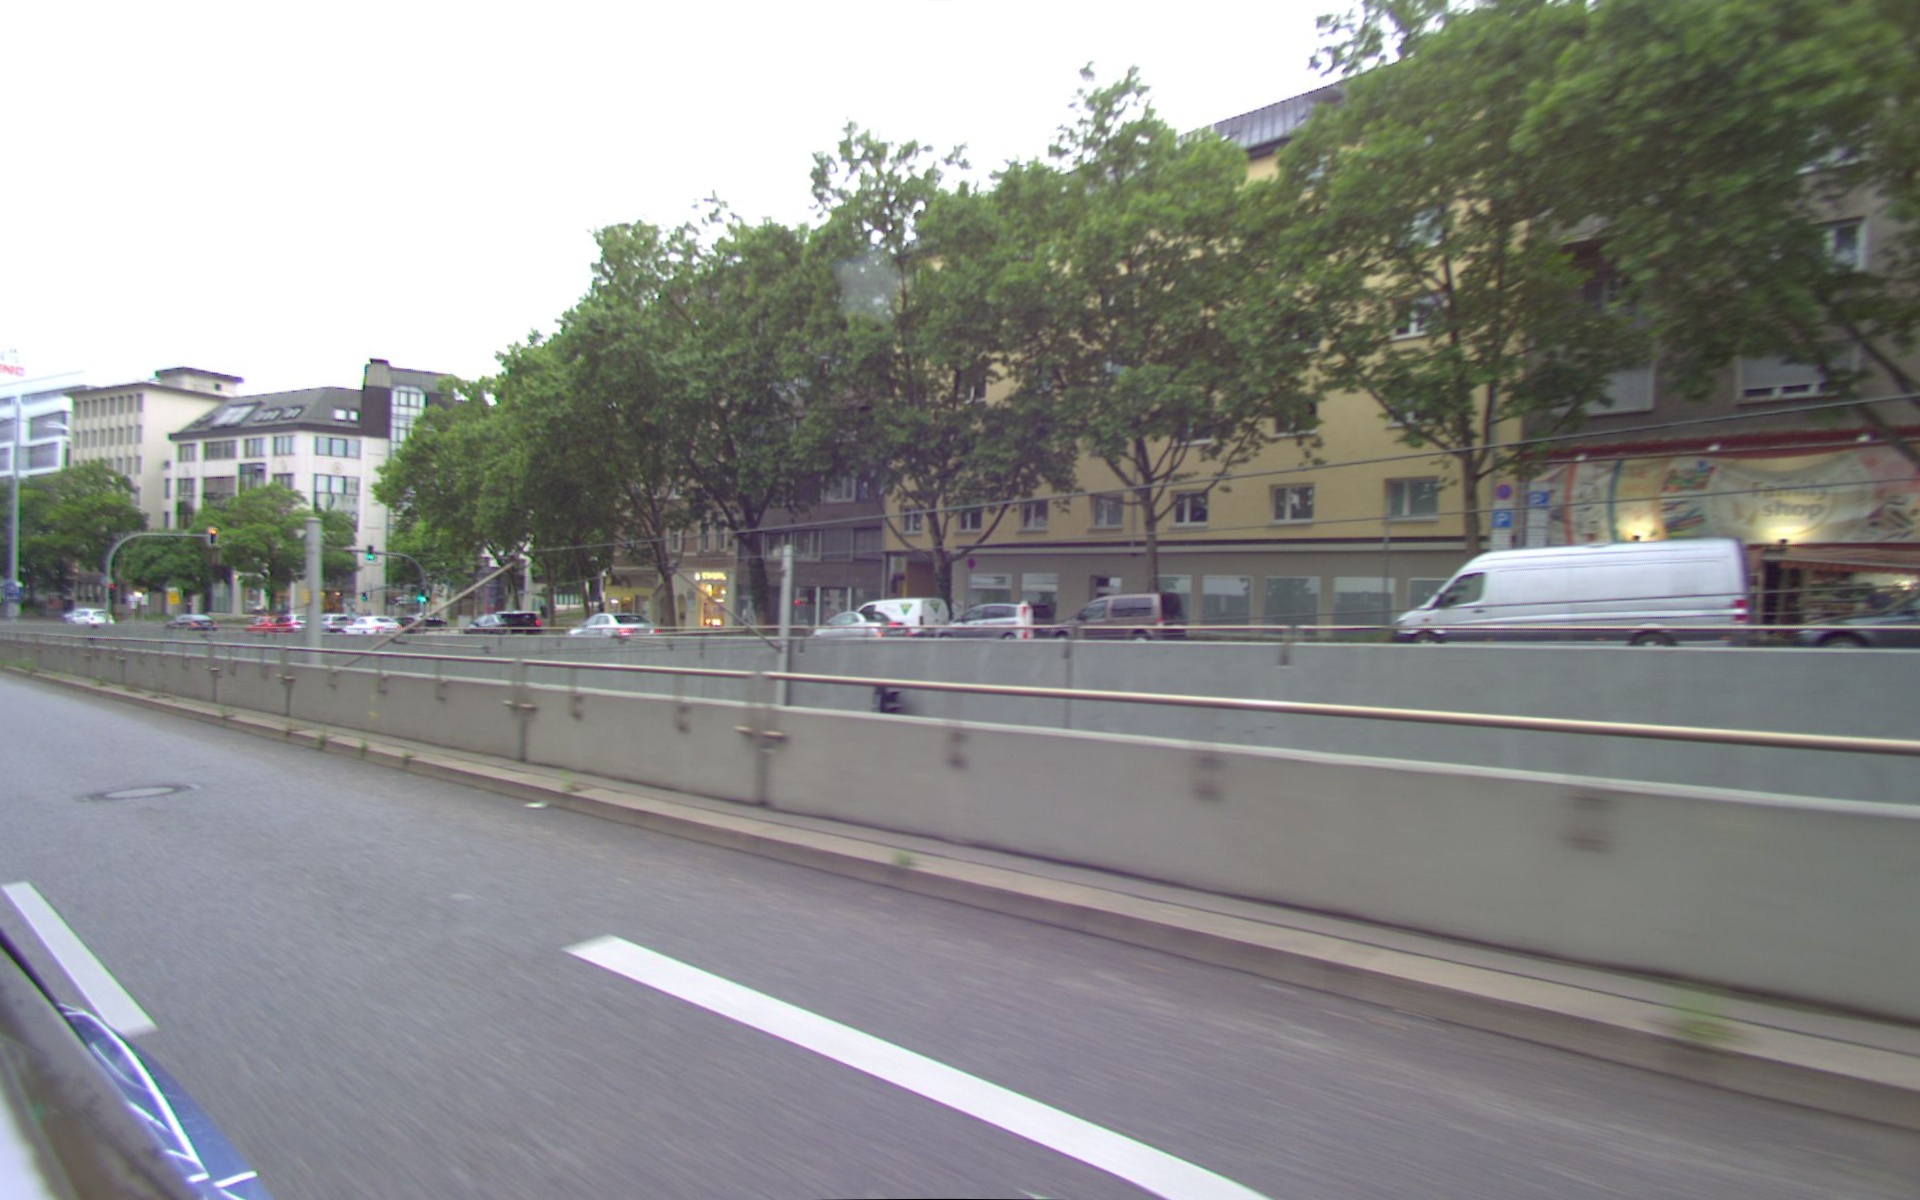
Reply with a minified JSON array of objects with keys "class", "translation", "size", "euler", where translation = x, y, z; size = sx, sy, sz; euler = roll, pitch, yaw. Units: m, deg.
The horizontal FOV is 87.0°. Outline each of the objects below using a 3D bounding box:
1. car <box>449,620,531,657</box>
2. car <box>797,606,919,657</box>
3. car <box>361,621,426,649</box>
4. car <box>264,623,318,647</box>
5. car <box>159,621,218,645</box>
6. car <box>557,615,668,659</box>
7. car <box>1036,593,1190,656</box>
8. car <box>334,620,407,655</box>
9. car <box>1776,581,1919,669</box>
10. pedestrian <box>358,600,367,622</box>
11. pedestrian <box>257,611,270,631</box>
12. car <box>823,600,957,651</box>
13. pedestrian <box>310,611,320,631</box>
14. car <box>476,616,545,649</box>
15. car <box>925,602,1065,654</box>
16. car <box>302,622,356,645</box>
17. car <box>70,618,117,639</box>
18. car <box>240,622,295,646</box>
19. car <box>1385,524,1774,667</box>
[{"class":"car","translation":[-20.931,1.685,44.995],"size":[4.344,1.522,1.775],"euler":[0,-1,43]},{"class":"car","translation":[-3.361,1.018,32.887],"size":[4.018,1.522,1.825],"euler":[-2,-1,45]},{"class":"car","translation":[-34.039,2.069,60.749],"size":[3.989,1.521,1.780],"euler":[0,0,34]},{"class":"car","translation":[-45.942,2.379,69.490],"size":[3.990,1.522,1.779],"euler":[0,-1,35]},{"class":"car","translation":[-53.745,2.296,70.474],"size":[4.820,1.569,1.780],"euler":[0,-1,33]},{"class":"car","translation":[-12.998,1.355,37.690],"size":[4.821,1.522,1.826],"euler":[-2,-1,43]},{"class":"car","translation":[4.493,0.717,30.070],"size":[4.202,1.742,1.776],"euler":[-2,-1,40]},{"class":"car","translation":[-32.376,2.007,55.511],"size":[4.723,1.783,1.778],"euler":[0,-1,37]},{"class":"car","translation":[17.502,0.420,17.887],"size":[4.671,1.522,1.775],"euler":[-2,-1,42]},{"class":"pedestrian","translation":[-51.089,0.933,86.519],"size":[0.582,1.823,0.675],"euler":[0,0,-43]},{"class":"pedestrian","translation":[-64.004,1.927,93.000],"size":[0.614,1.798,0.826],"euler":[0,0,33]},{"class":"car","translation":[-2.617,0.933,37.047],"size":[4.894,1.778,1.859],"euler":[-2,-1,38]},{"class":"pedestrian","translation":[-57.352,1.871,89.955],"size":[0.524,1.798,0.597],"euler":[0,0,33]},{"class":"car","translation":[-23.073,1.659,51.876],"size":[4.016,1.592,1.775],"euler":[-2,-1,42]},{"class":"car","translation":[1.110,0.920,33.488],"size":[4.470,1.595,1.857],"euler":[-2,-1,41]},{"class":"car","translation":[-45.777,2.413,73.431],"size":[3.929,1.521,1.781],"euler":[0,0,32]},{"class":"car","translation":[-68.082,2.235,79.492],"size":[3.989,1.573,1.780],"euler":[0,-1,33]},{"class":"car","translation":[-43.974,2.128,64.245],"size":[3.871,1.411,1.571],"euler":[0,-1,35]},{"class":"car","translation":[13.336,-0.015,22.257],"size":[6.930,2.682,2.426],"euler":[-2,-1,42]}]
